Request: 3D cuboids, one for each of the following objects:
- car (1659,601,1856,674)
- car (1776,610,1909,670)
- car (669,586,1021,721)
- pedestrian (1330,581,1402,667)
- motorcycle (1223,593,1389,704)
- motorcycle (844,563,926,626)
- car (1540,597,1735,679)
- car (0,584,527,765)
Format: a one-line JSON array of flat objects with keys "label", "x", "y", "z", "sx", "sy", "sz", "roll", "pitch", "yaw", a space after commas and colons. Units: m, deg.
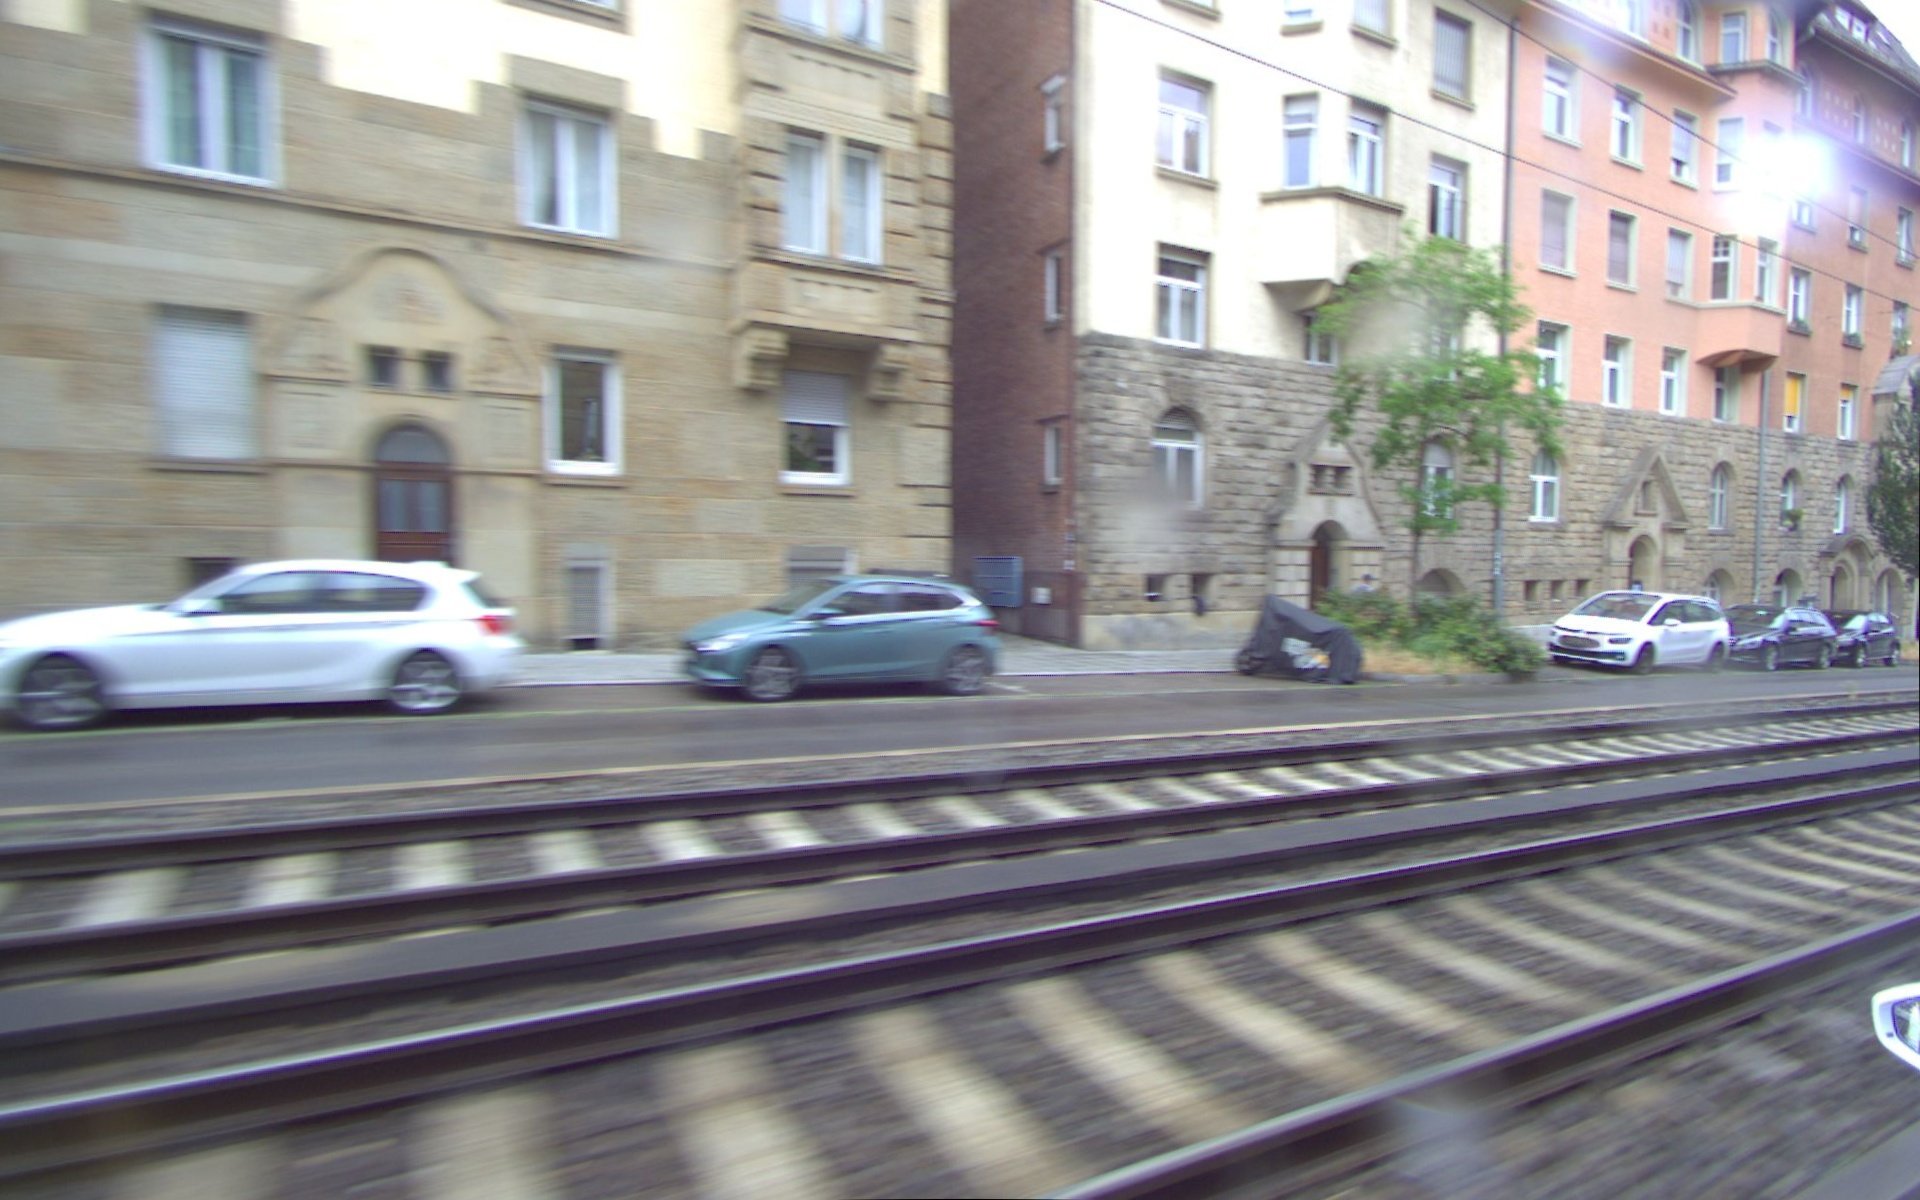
[{"label": "car", "x": 19.561, "y": 0.843, "z": 24.593, "sx": 4.913, "sy": 1.530, "sz": 1.985, "roll": 0, "pitch": 3, "yaw": -29}, {"label": "car", "x": 23.663, "y": 1.017, "z": 26.908, "sx": 3.840, "sy": 1.417, "sz": 1.633, "roll": 0, "pitch": 2, "yaw": -32}, {"label": "car", "x": -1.389, "y": 0.595, "z": 12.567, "sx": 4.094, "sy": 1.457, "sz": 1.555, "roll": 1, "pitch": 1, "yaw": -28}, {"label": "pedestrian", "x": 8.618, "y": 0.514, "z": 21.338, "sx": 0.913, "sy": 1.776, "sz": 1.003, "roll": -1, "pitch": -2, "yaw": -28}, {"label": "motorcycle", "x": 5.667, "y": 0.728, "z": 16.543, "sx": 2.236, "sy": 1.664, "sz": 1.285, "roll": 2, "pitch": 1, "yaw": 45}, {"label": "motorcycle", "x": -1.998, "y": -0.170, "z": 26.320, "sx": 0.981, "sy": 1.534, "sz": 2.867, "roll": -3, "pitch": 2, "yaw": -30}, {"label": "car", "x": 14.644, "y": 0.776, "z": 21.674, "sx": 4.298, "sy": 1.610, "sz": 1.777, "roll": 1, "pitch": 0, "yaw": -29}, {"label": "car", "x": -6.497, "y": 0.599, "z": 9.641, "sx": 4.208, "sy": 1.445, "sz": 1.660, "roll": 0, "pitch": 1, "yaw": -28}]
